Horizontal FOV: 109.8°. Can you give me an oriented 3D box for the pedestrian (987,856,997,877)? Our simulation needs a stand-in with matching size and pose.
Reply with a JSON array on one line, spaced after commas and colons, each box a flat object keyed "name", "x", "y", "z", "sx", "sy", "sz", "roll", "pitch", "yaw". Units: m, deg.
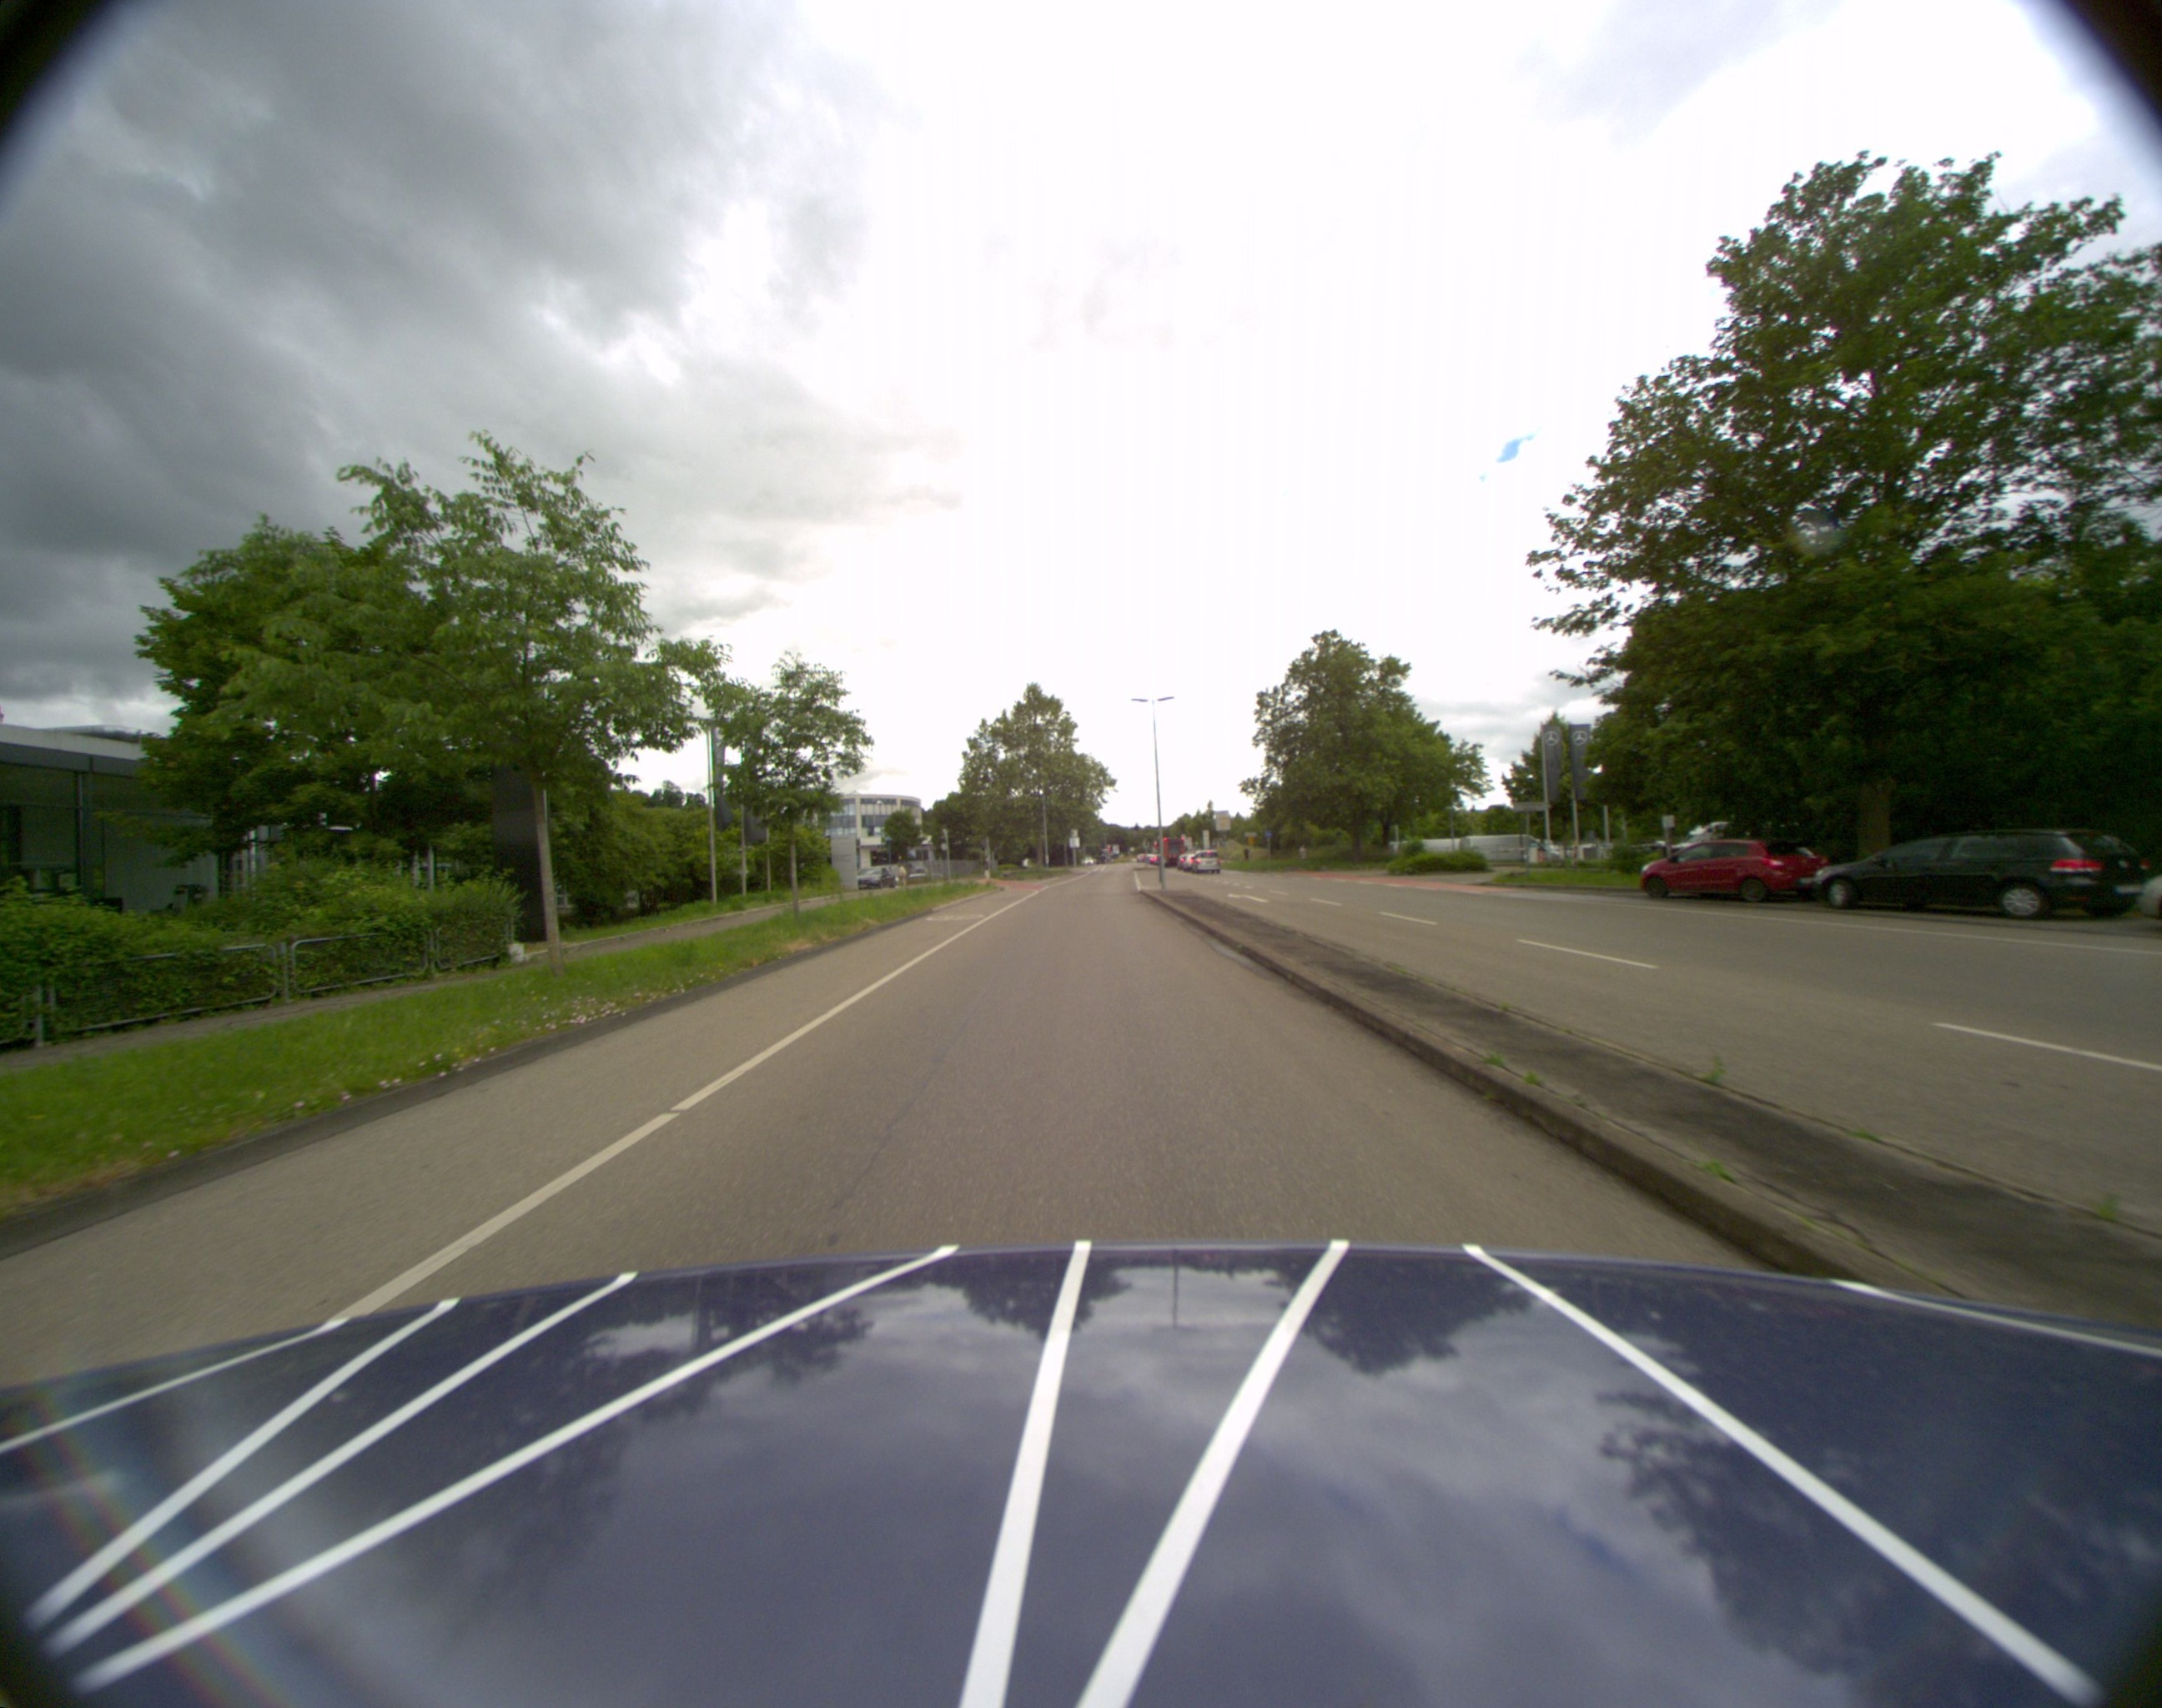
[{"name": "pedestrian", "x": -7.324, "y": 1.002, "z": 62.639, "sx": 0.734, "sy": 1.717, "sz": 0.501, "roll": -1, "pitch": 1, "yaw": -3}]

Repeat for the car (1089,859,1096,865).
[{"name": "car", "x": 2.846, "y": 1.912, "z": 185.156, "sx": 1.592, "sy": 1.480, "sz": 3.583, "roll": -2, "pitch": 0, "yaw": 0}]

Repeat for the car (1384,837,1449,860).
[{"name": "car", "x": 31.484, "y": -0.537, "z": 71.372, "sx": 5.298, "sy": 2.002, "sz": 1.739, "roll": -1, "pitch": 1, "yaw": -1}]

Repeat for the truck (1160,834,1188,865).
[{"name": "truck", "x": 10.998, "y": -0.549, "z": 90.375, "sx": 2.831, "sy": 3.460, "sz": 7.825, "roll": -2, "pitch": 0, "yaw": 4}]

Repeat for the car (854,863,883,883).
[{"name": "car", "x": -24.966, "y": 2.229, "z": 89.089, "sx": 2.119, "sy": 2.261, "sz": 4.474, "roll": -2, "pitch": -1, "yaw": -31}]

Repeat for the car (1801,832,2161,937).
[{"name": "car", "x": 15.838, "y": 0.457, "z": 13.550, "sx": 1.881, "sy": 1.498, "sz": 3.997, "roll": -3, "pitch": 0, "yaw": -9}]

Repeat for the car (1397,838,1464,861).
[{"name": "car", "x": 31.611, "y": -0.421, "z": 68.816, "sx": 5.298, "sy": 2.002, "sz": 1.739, "roll": -1, "pitch": 1, "yaw": -1}]

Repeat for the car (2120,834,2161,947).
[{"name": "car", "x": 15.521, "y": 0.454, "z": 8.616, "sx": 1.880, "sy": 1.498, "sz": 4.056, "roll": -3, "pitch": 0, "yaw": 0}]

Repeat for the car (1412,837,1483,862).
[{"name": "car", "x": 31.515, "y": -0.395, "z": 65.422, "sx": 5.297, "sy": 2.002, "sz": 1.739, "roll": -1, "pitch": 1, "yaw": 1}]

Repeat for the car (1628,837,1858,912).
[{"name": "car", "x": 15.701, "y": 0.448, "z": 18.338, "sx": 1.881, "sy": 1.498, "sz": 3.886, "roll": -3, "pitch": 0, "yaw": -6}]

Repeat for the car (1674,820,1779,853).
[{"name": "car", "x": 54.419, "y": -1.483, "z": 64.137, "sx": 6.956, "sy": 2.399, "sz": 2.000, "roll": -3, "pitch": 1, "yaw": 1}]

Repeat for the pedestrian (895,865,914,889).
[{"name": "pedestrian", "x": -11.669, "y": 1.511, "z": 50.234, "sx": 0.941, "sy": 1.557, "sz": 0.814, "roll": 0, "pitch": 2, "yaw": 41}]

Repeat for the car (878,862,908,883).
[{"name": "car", "x": -22.204, "y": 2.192, "z": 89.520, "sx": 2.119, "sy": 2.261, "sz": 4.474, "roll": -2, "pitch": -1, "yaw": -31}]

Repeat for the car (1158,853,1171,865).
[{"name": "car", "x": 11.526, "y": 0.718, "z": 105.342, "sx": 1.591, "sy": 1.608, "sz": 3.352, "roll": -2, "pitch": 0, "yaw": 4}]

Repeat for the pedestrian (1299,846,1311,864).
[{"name": "pedestrian", "x": 21.464, "y": 0.072, "z": 72.781, "sx": 0.757, "sy": 1.727, "sz": 0.638, "roll": -3, "pitch": 1, "yaw": -8}]

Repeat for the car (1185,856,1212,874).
[{"name": "car", "x": 10.097, "y": 0.894, "z": 65.694, "sx": 1.733, "sy": 1.477, "sz": 4.123, "roll": -1, "pitch": 0, "yaw": 1}]

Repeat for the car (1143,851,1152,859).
[{"name": "car", "x": 13.086, "y": 0.197, "z": 150.119, "sx": 1.591, "sy": 1.608, "sz": 3.584, "roll": -2, "pitch": 0, "yaw": 4}]

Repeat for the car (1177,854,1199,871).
[{"name": "car", "x": 10.300, "y": 0.820, "z": 73.412, "sx": 1.639, "sy": 1.553, "sz": 3.351, "roll": -2, "pitch": 0, "yaw": 1}]

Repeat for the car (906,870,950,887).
[{"name": "car", "x": -16.323, "y": 2.648, "z": 81.209, "sx": 4.188, "sy": 1.439, "sz": 1.819, "roll": -5, "pitch": -1, "yaw": -1}]

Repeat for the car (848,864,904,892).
[{"name": "car", "x": -12.499, "y": 1.432, "z": 46.585, "sx": 1.851, "sy": 1.408, "sz": 4.981, "roll": -4, "pitch": 0, "yaw": 1}]

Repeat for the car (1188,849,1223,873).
[{"name": "car", "x": 9.701, "y": 0.520, "z": 59.495, "sx": 1.833, "sy": 1.759, "sz": 4.406, "roll": -3, "pitch": 0, "yaw": 0}]

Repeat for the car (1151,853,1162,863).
[{"name": "car", "x": 11.901, "y": 0.637, "z": 120.453, "sx": 1.591, "sy": 1.608, "sz": 3.584, "roll": -2, "pitch": 0, "yaw": 4}]

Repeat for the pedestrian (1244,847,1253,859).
[{"name": "pedestrian", "x": 19.889, "y": -0.103, "z": 90.238, "sx": 0.757, "sy": 1.438, "sz": 0.639, "roll": -3, "pitch": 1, "yaw": 0}]

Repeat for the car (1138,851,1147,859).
[{"name": "car", "x": 12.592, "y": 0.255, "z": 155.514, "sx": 1.591, "sy": 1.608, "sz": 3.584, "roll": -2, "pitch": 0, "yaw": 4}]

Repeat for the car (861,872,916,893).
[{"name": "car", "x": -16.163, "y": 2.381, "z": 63.976, "sx": 3.996, "sy": 1.310, "sz": 2.001, "roll": -6, "pitch": -1, "yaw": 4}]
